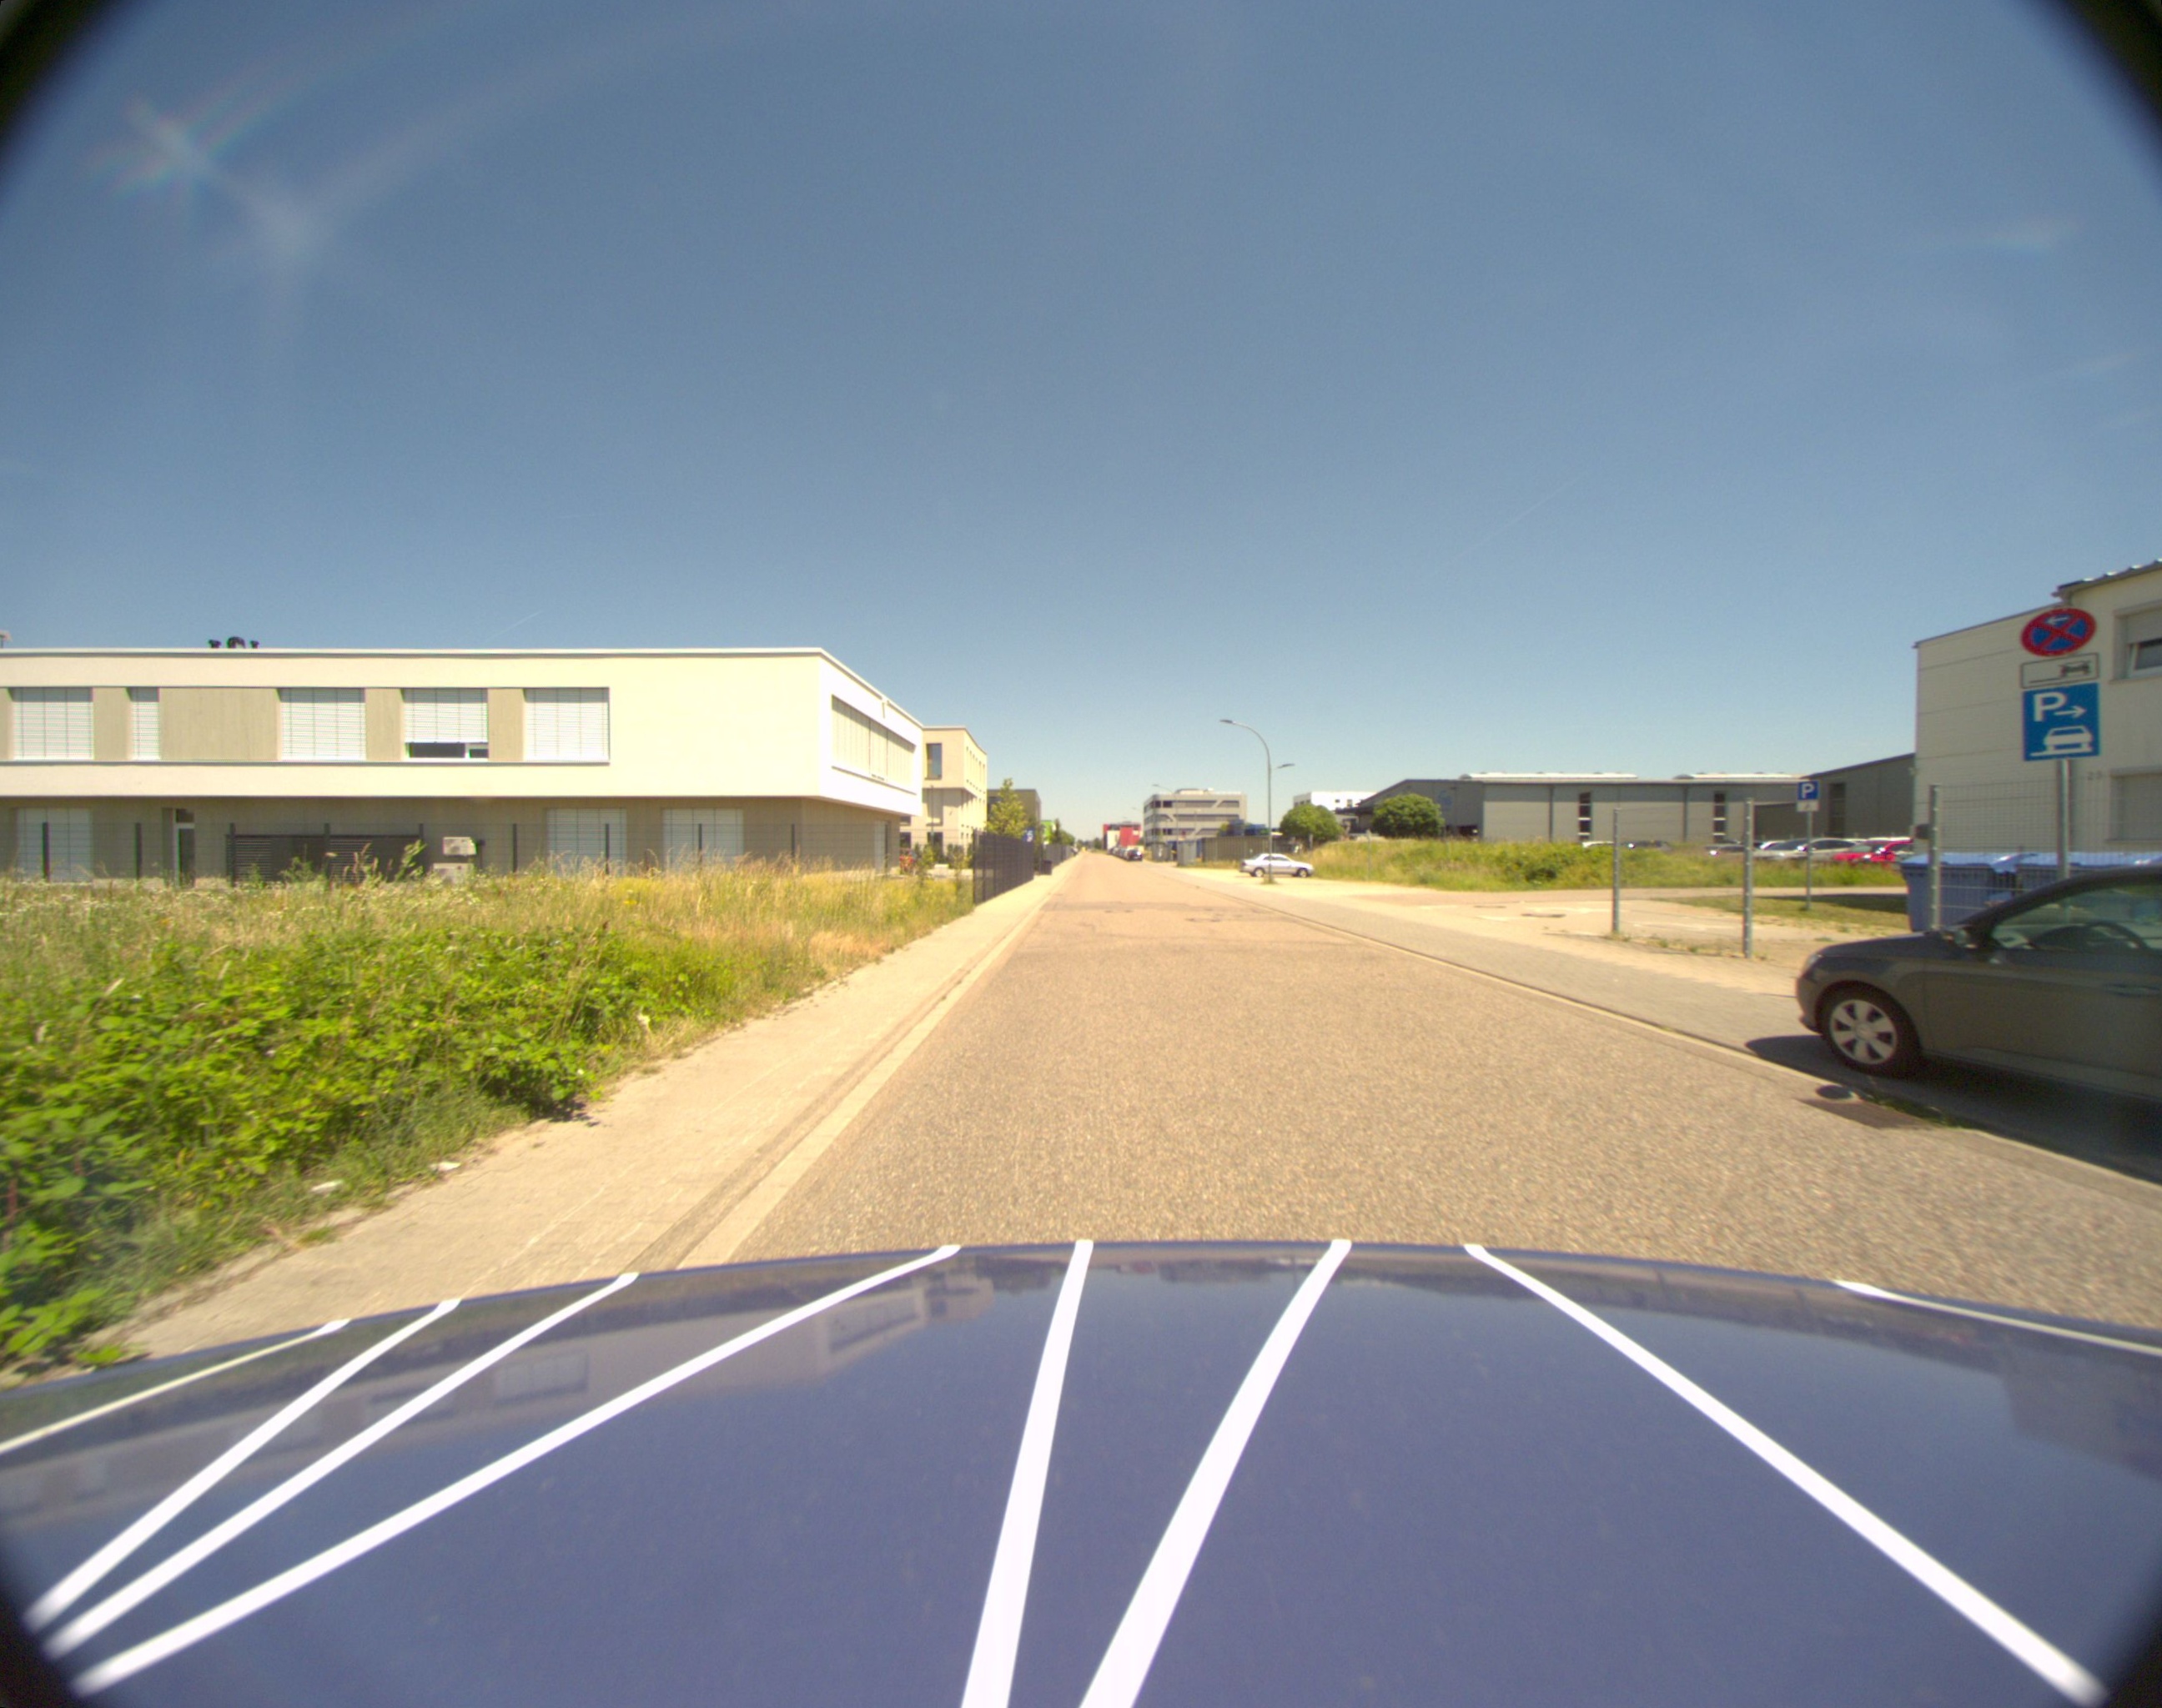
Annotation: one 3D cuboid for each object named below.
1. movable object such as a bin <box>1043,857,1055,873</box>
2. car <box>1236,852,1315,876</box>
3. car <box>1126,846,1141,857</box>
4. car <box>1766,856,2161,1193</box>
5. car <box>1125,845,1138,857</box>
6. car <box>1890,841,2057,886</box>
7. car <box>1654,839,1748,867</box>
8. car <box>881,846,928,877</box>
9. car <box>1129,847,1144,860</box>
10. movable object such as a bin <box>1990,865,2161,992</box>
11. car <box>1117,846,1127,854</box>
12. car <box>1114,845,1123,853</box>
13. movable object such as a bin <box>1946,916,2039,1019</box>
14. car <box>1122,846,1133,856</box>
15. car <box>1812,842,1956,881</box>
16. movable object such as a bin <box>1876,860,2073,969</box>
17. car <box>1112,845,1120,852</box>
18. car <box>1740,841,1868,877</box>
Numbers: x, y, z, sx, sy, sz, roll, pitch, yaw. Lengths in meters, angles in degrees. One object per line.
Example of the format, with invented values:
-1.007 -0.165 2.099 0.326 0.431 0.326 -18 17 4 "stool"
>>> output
-2.185 0.772 51.544 0.749 1.042 0.698 1 1 1 "movable object such as a bin"
11.673 0.569 45.824 4.257 1.371 1.862 1 1 2 "car"
7.164 -0.360 104.391 1.772 1.521 3.777 -2 1 1 "car"
5.902 0.818 3.669 1.678 1.521 3.909 -1 1 1 "car"
7.317 -0.430 110.104 1.772 1.521 3.777 -2 1 1 "car"
31.725 0.314 27.090 3.889 1.390 1.738 -2 1 0 "car"
35.066 -0.074 43.058 3.889 1.390 1.738 -2 1 0 "car"
-9.245 0.389 40.079 1.673 1.548 4.077 0 -1 -2 "car"
7.200 -0.068 98.780 1.695 1.481 3.660 -2 1 1 "car"
12.796 0.882 9.526 1.127 1.440 1.371 0 1 3 "movable object such as a bin"
7.977 -0.839 148.421 1.772 1.521 3.777 -2 1 1 "car"
7.846 -1.047 160.930 1.772 1.521 3.777 -2 1 1 "car"
8.933 1.097 7.458 0.305 0.934 0.496 0 1 3 "movable object such as a bin"
7.999 -0.588 130.091 1.659 1.573 3.777 -2 1 1 "car"
32.008 0.287 30.351 3.889 1.390 1.738 -2 1 0 "car"
12.859 0.825 11.015 1.146 1.440 1.434 0 1 3 "movable object such as a bin"
8.219 -1.399 180.969 1.772 1.521 3.777 -2 1 1 "car"
31.383 0.200 33.058 3.889 1.390 1.738 -2 1 0 "car"
